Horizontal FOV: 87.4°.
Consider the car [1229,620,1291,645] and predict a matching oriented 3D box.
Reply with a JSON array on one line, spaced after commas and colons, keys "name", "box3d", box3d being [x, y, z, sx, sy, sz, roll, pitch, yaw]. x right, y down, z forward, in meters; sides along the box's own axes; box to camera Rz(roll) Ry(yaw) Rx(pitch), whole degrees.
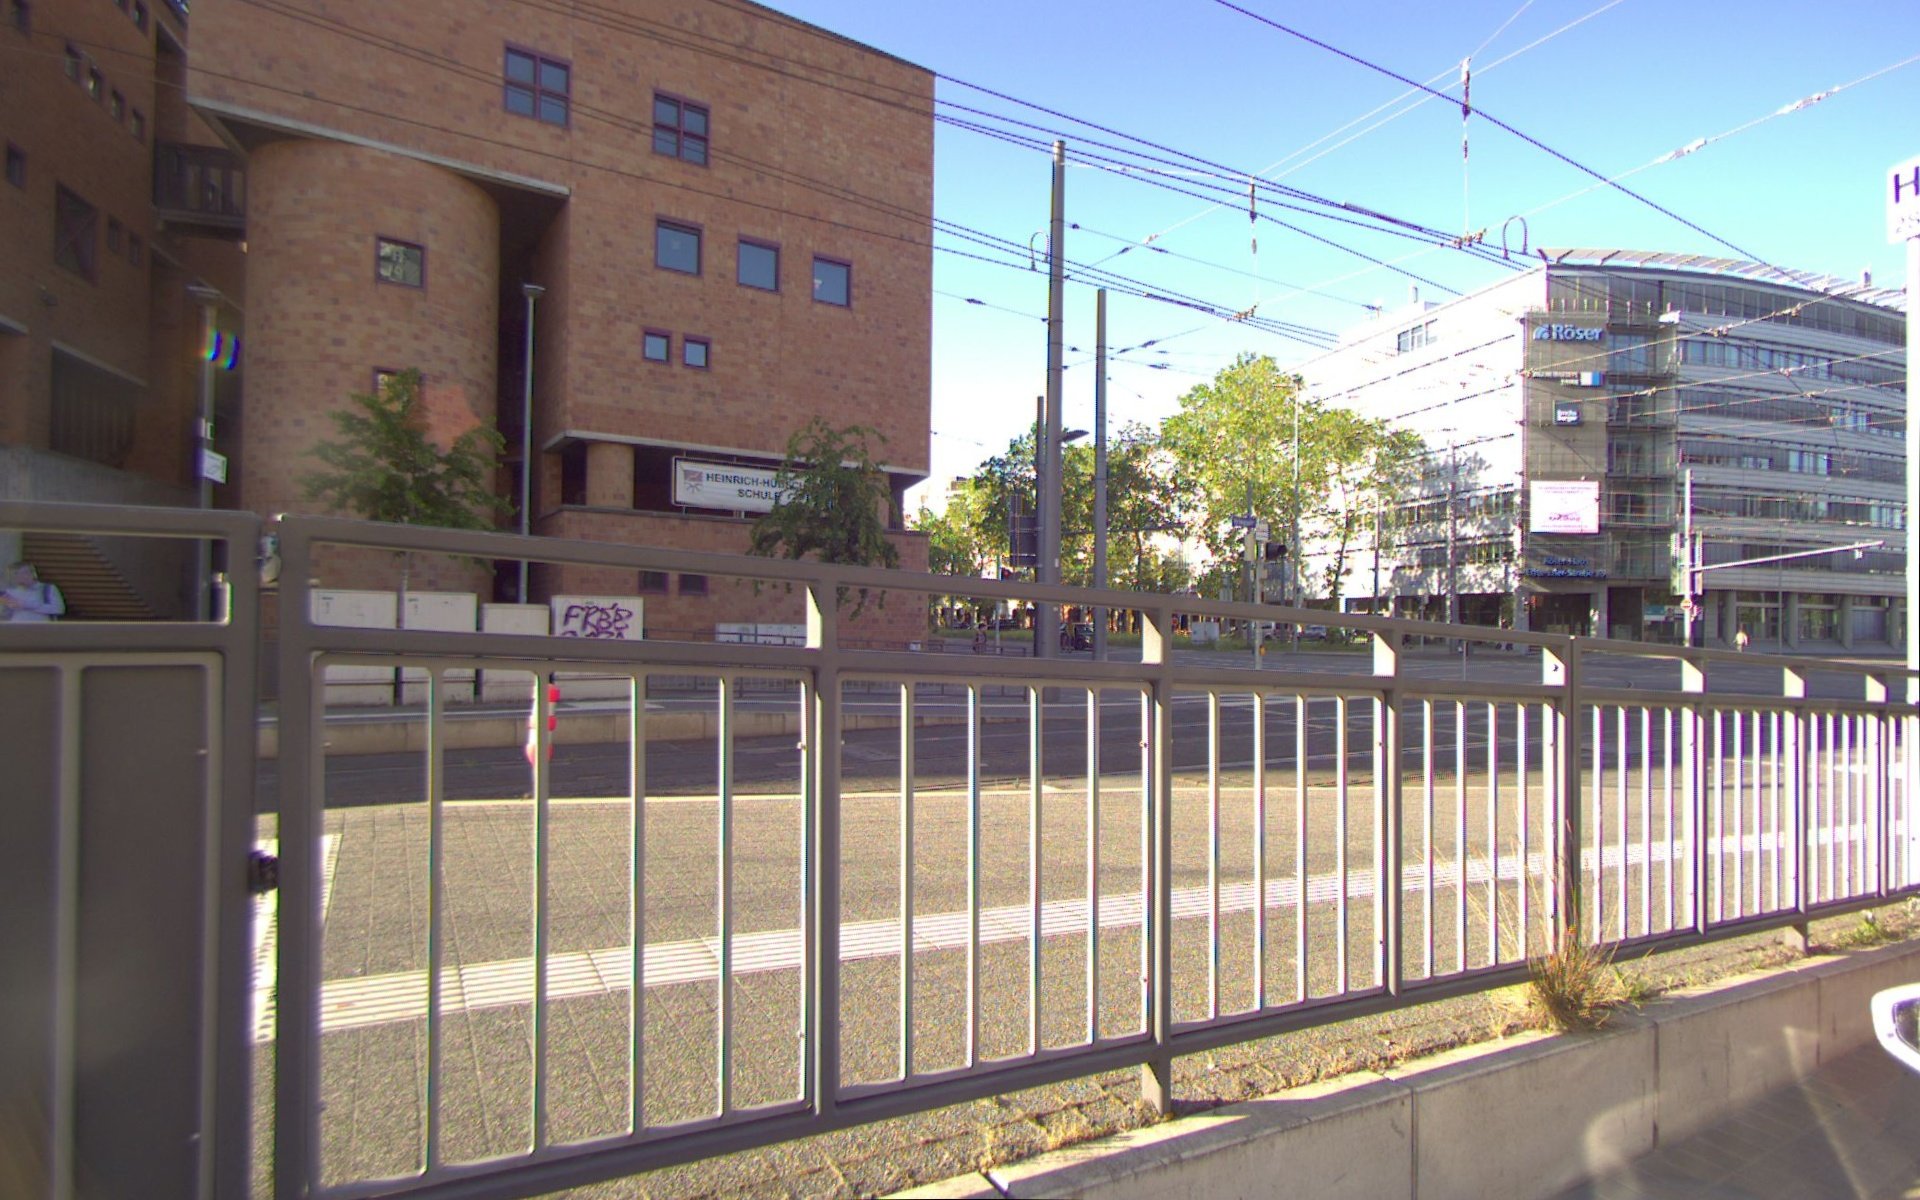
[{"name": "car", "box3d": [24.221, 2.596, 81.239, 1.904, 1.868, 4.889, -1, 0, -28]}]

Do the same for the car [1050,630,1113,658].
[{"name": "car", "box3d": [6.821, 2.465, 56.520, 1.637, 1.346, 3.591, 2, 0, -31]}]

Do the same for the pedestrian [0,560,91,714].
[{"name": "pedestrian", "box3d": [-9.669, 0.383, 10.584, 0.647, 1.555, 0.696, 1, -1, -33]}]

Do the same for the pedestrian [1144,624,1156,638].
[{"name": "pedestrian", "box3d": [20.720, 3.382, 109.420, 0.860, 1.567, 0.989, 1, -1, -22]}]

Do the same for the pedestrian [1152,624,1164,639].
[{"name": "pedestrian", "box3d": [21.313, 3.395, 108.237, 0.861, 1.567, 0.988, 1, -1, -25]}]

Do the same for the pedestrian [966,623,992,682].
[{"name": "pedestrian", "box3d": [0.530, 1.491, 28.510, 0.501, 1.639, 0.504, 2, 0, -40]}]

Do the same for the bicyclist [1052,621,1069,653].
[{"name": "bicyclist", "box3d": [5.258, 1.955, 52.796, 0.614, 1.643, 0.812, 1, -1, -16]}]

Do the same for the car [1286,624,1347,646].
[{"name": "car", "box3d": [27.056, 2.633, 76.431, 1.840, 1.594, 4.387, -1, 0, -25]}]

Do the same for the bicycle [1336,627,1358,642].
[{"name": "bicycle", "box3d": [30.545, 2.731, 79.306, 1.812, 1.167, 0.467, 0, 0, -23]}]

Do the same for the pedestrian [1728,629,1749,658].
[{"name": "pedestrian", "box3d": [50.225, 2.837, 64.799, 0.871, 1.847, 0.675, 1, -2, -17]}]

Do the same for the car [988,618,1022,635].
[{"name": "car", "box3d": [5.294, 3.088, 117.590, 2.011, 2.003, 4.382, 0, -1, -29]}]

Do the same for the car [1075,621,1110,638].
[{"name": "car", "box3d": [13.479, 2.999, 102.221, 1.840, 1.660, 3.844, 1, -1, -25]}]

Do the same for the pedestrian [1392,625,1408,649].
[{"name": "pedestrian", "box3d": [31.015, 2.628, 70.760, 0.598, 1.633, 0.832, -2, 2, -26]}]

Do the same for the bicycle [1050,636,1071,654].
[{"name": "bicycle", "box3d": [5.273, 2.360, 52.756, 0.528, 0.925, 1.564, 1, -1, -15]}]

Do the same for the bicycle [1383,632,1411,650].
[{"name": "bicycle", "box3d": [30.727, 2.867, 70.657, 0.605, 1.179, 1.835, -2, 2, -27]}]
